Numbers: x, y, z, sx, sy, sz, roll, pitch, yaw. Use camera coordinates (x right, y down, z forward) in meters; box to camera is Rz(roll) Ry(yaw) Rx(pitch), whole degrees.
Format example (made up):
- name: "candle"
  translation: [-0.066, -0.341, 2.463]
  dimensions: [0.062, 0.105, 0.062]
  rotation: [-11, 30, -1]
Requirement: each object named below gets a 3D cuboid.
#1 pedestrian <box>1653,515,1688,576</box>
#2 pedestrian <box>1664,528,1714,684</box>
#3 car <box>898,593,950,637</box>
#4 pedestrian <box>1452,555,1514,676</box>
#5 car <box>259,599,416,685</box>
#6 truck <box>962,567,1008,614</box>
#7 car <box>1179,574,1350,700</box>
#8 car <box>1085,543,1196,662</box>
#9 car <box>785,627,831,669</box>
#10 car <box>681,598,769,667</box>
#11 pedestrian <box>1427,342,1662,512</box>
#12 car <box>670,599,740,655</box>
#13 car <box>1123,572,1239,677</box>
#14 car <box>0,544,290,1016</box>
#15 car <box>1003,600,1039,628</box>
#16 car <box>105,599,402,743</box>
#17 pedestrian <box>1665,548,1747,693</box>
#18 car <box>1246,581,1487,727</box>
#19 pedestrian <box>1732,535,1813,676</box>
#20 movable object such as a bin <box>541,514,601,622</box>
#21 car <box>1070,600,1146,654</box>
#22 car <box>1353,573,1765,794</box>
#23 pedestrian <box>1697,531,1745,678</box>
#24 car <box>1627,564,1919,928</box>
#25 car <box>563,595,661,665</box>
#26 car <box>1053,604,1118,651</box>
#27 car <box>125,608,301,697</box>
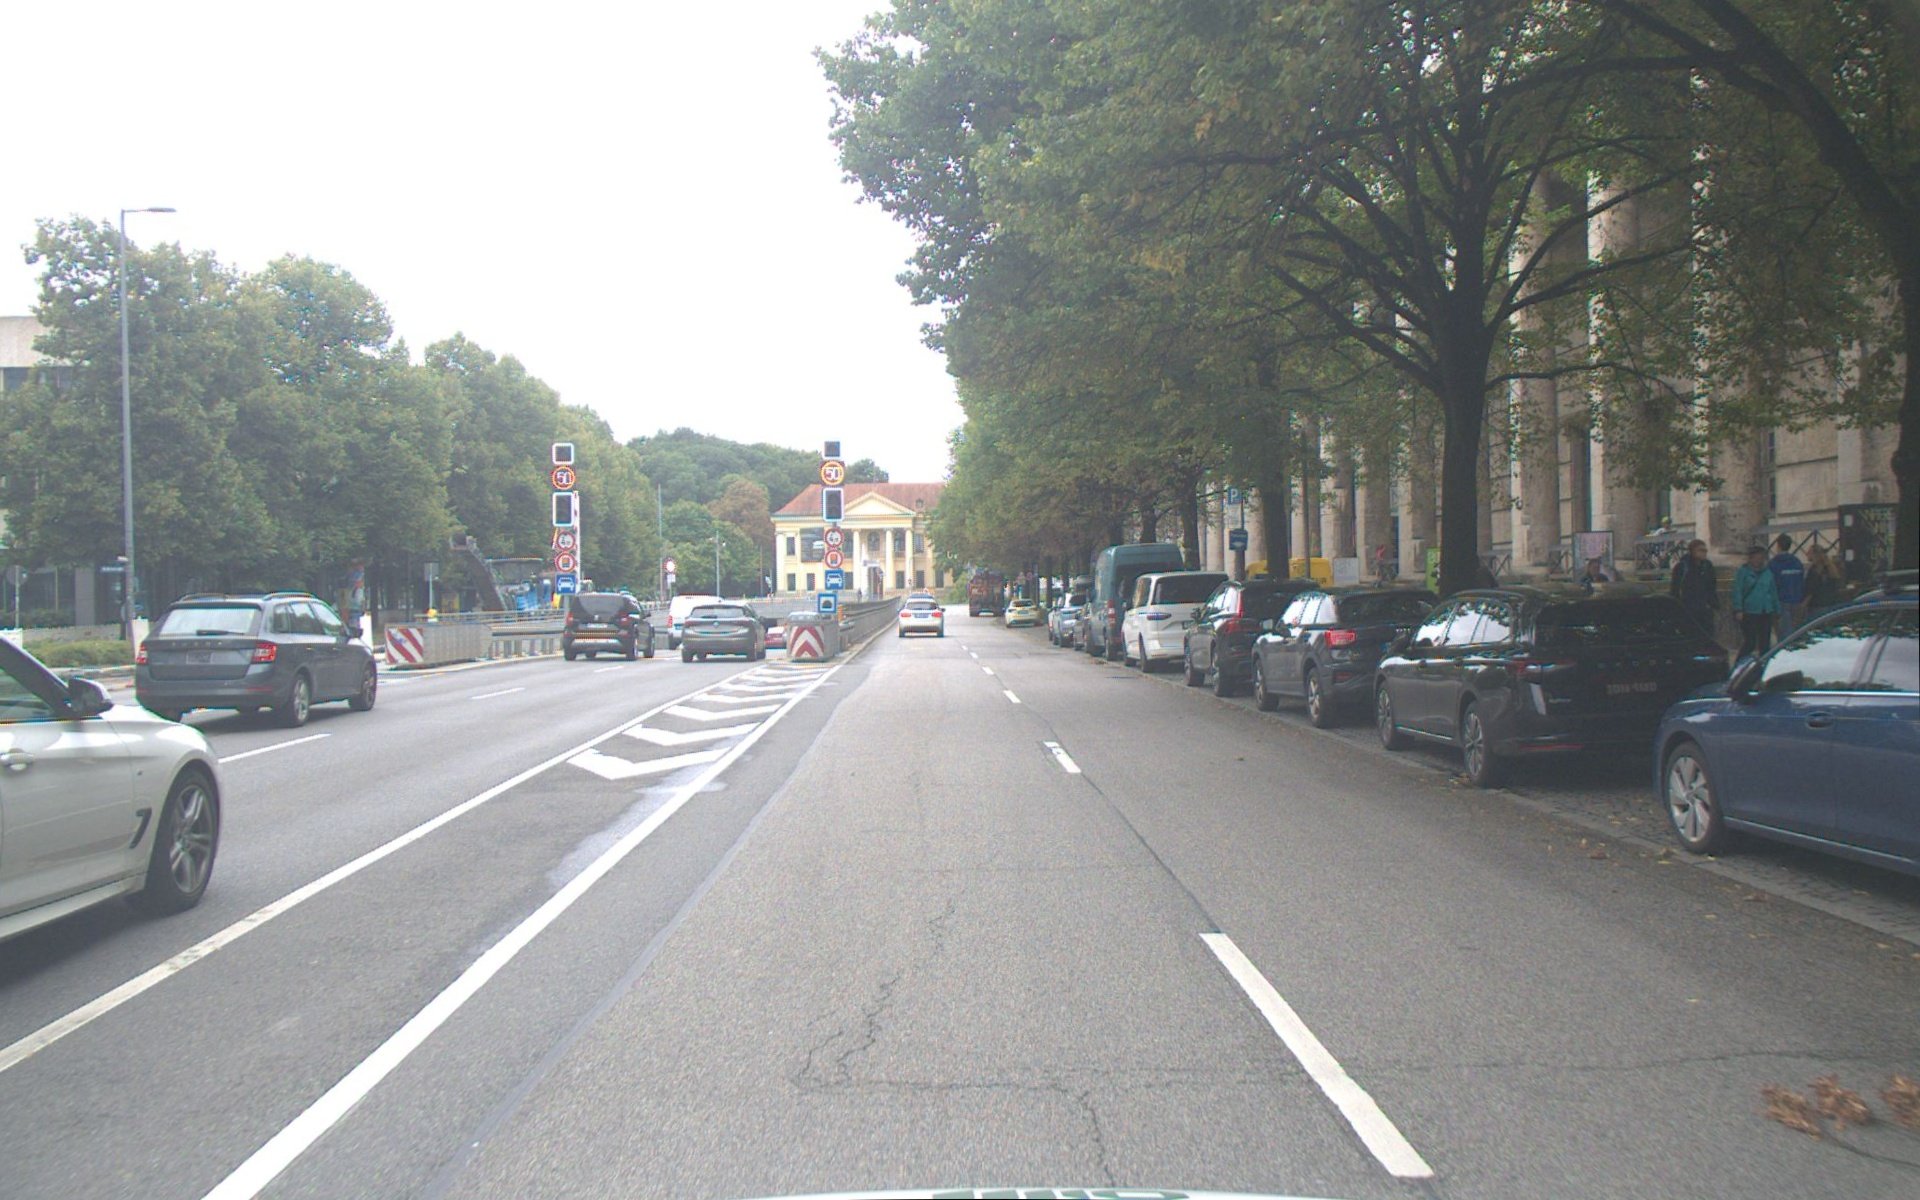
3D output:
- name: "pedestrian"
  translation: [16.641, -1.270, 38.756]
  dimensions: [0.555, 1.397, 0.646]
  rotation: [0, 0, -1]
- name: "pedestrian"
  translation: [9.265, 0.074, 21.023]
  dimensions: [0.517, 1.943, 0.652]
  rotation: [0, 0, 18]
- name: "car"
  translation: [-1.454, 0.560, 65.179]
  dimensions: [1.745, 1.673, 3.995]
  rotation: [0, 0, -6]
- name: "pedestrian"
  translation: [8.518, 0.247, 26.975]
  dimensions: [0.763, 1.943, 0.771]
  rotation: [0, 0, -1]
- name: "car"
  translation: [-12.914, 0.822, 34.580]
  dimensions: [1.954, 1.624, 3.996]
  rotation: [-2, 0, -4]
- name: "truck"
  translation: [1.840, -0.719, 126.315]
  dimensions: [3.258, 3.426, 8.660]
  rotation: [0, 0, -1]
- name: "car"
  translation: [4.534, 0.511, 25.265]
  dimensions: [1.689, 1.694, 4.589]
  rotation: [-2, 0, 0]
- name: "car"
  translation: [4.285, 0.043, 39.926]
  dimensions: [1.953, 2.689, 4.875]
  rotation: [0, 0, -2]
- name: "car"
  translation: [-6.545, 2.035, 71.550]
  dimensions: [1.743, 1.683, 3.999]
  rotation: [0, 0, -2]
- name: "car"
  translation: [-5.701, 0.754, 40.484]
  dimensions: [1.675, 1.579, 3.999]
  rotation: [0, 0, -1]
- name: "pedestrian"
  translation: [8.340, -2.409, 23.998]
  dimensions: [1.953, 2.049, 3.999]
  rotation: [0, 0, -1]
- name: "car"
  translation: [-9.158, 0.934, 59.723]
  dimensions: [1.860, 1.880, 4.954]
  rotation: [-1, 0, -2]
- name: "car"
  translation: [4.321, 0.452, 32.897]
  dimensions: [1.689, 1.900, 4.027]
  rotation: [-2, 0, 0]
- name: "car"
  translation: [-4.286, 0.654, 6.074]
  dimensions: [1.757, 1.665, 5.024]
  rotation: [-1, 0, -2]
- name: "car"
  translation: [3.172, 0.728, 86.743]
  dimensions: [1.689, 1.347, 4.027]
  rotation: [-2, 0, 0]
- name: "car"
  translation: [-8.179, 0.753, 19.597]
  dimensions: [1.756, 1.473, 4.273]
  rotation: [-1, 0, -2]
- name: "pedestrian"
  translation: [10.151, 0.273, 22.518]
  dimensions: [0.763, 1.943, 0.771]
  rotation: [0, 0, -1]
- name: "car"
  translation: [4.646, 0.570, 19.491]
  dimensions: [1.785, 1.490, 4.027]
  rotation: [-2, 0, 0]
- name: "pedestrian"
  translation: [11.402, 0.070, 23.224]
  dimensions: [0.763, 1.943, 0.771]
  rotation: [0, 0, -1]
- name: "movable object such as a bin"
  translation: [-24.301, -1.967, 103.499]
  dimensions: [2.644, 6.625, 5.175]
  rotation: [0, 0, -1]
- name: "car"
  translation: [4.083, 0.727, 46.085]
  dimensions: [1.689, 1.388, 4.027]
  rotation: [-2, 0, 0]
- name: "car"
  translation: [4.763, 0.581, 13.978]
  dimensions: [1.689, 1.490, 4.775]
  rotation: [-2, 0, 0]
- name: "pedestrian"
  translation: [10.201, 0.055, 22.186]
  dimensions: [0.517, 1.943, 0.652]
  rotation: [0, 0, 18]
- name: "car"
  translation: [4.981, 0.606, 7.877]
  dimensions: [1.689, 1.577, 4.585]
  rotation: [-2, 0, 0]
- name: "car"
  translation: [-8.789, 0.727, 42.042]
  dimensions: [1.688, 1.665, 4.203]
  rotation: [-1, 0, -2]
- name: "car"
  translation: [3.892, 0.843, 51.841]
  dimensions: [1.689, 1.347, 4.027]
  rotation: [-2, 0, 0]
- name: "car"
  translation: [-15.073, 1.011, 33.629]
  dimensions: [1.954, 1.624, 3.996]
  rotation: [-2, 0, -4]
